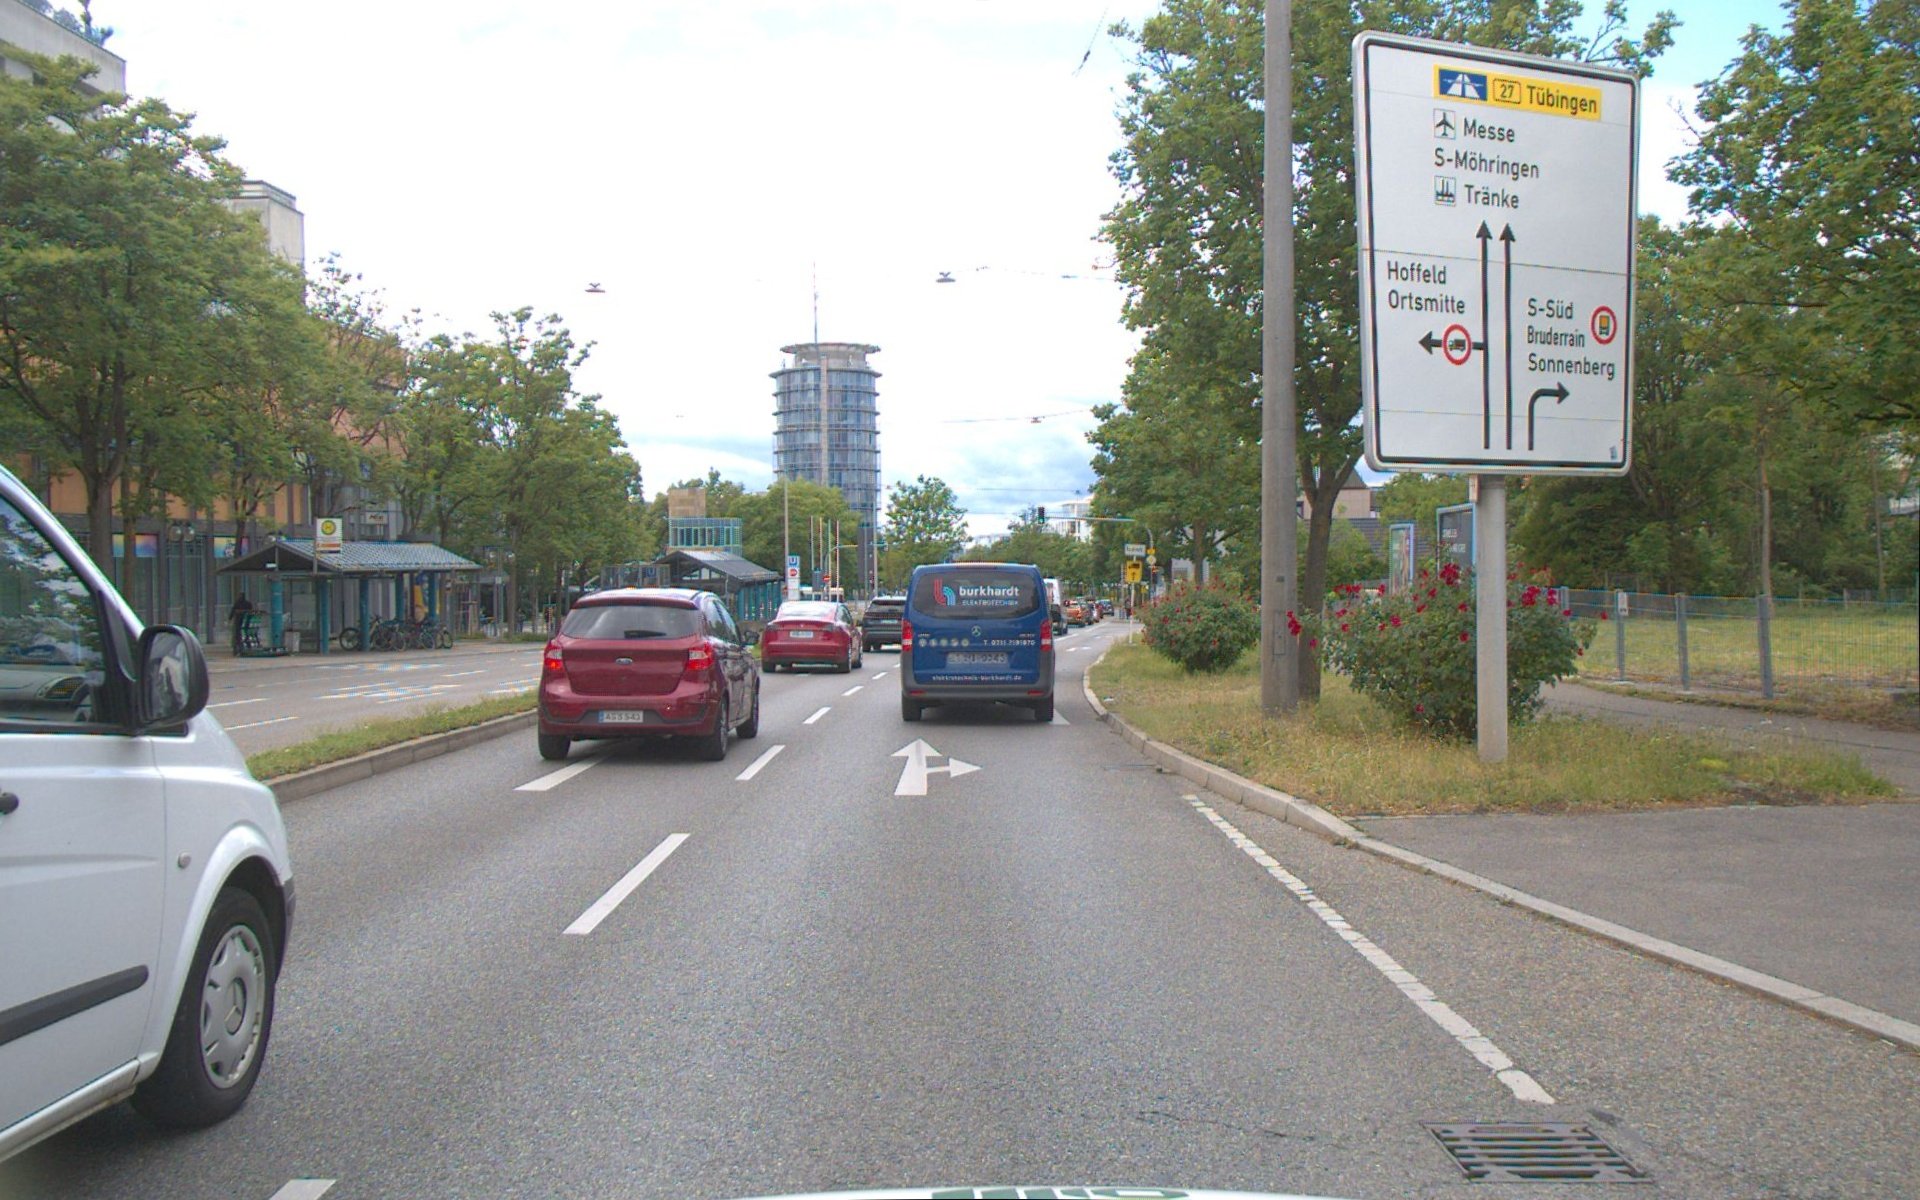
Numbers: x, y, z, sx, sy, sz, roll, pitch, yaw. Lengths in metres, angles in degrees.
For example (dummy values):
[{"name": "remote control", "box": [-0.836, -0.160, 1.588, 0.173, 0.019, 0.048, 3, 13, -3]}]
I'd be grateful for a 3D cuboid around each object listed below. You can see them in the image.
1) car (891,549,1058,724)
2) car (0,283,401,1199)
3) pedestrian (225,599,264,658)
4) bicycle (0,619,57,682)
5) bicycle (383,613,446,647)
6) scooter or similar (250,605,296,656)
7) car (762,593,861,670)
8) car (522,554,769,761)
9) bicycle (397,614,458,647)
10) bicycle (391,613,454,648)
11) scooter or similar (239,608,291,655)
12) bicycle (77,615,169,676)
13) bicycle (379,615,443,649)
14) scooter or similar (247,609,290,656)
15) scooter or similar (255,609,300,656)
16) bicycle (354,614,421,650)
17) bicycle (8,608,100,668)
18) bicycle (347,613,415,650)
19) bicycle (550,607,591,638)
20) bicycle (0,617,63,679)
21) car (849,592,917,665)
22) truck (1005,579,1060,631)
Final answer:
[{"name": "car", "box": [0.191, 0.423, 21.249, 1.908, 2.000, 4.541, 0, 0, 1]}, {"name": "car", "box": [-2.754, 0.385, 2.909, 1.836, 2.048, 5.075, 3, 1, -1]}, {"name": "pedestrian", "box": [-22.204, 0.871, 51.312, 0.717, 1.812, 0.997, -1, 0, 3]}, {"name": "bicycle", "box": [-19.628, 1.038, 34.087, 0.615, 1.275, 1.675, -1, 0, 40]}, {"name": "bicycle", "box": [-19.450, 1.075, 58.962, 2.026, 1.173, 0.710, -1, 0, -9]}, {"name": "scooter or similar", "box": [-19.711, 0.884, 47.465, 1.177, 1.448, 0.259, -1, 0, 0]}, {"name": "car", "box": [-3.070, 0.674, 34.836, 1.831, 1.512, 3.998, -1, -1, -2]}, {"name": "car", "box": [-2.905, 0.495, 16.083, 1.711, 1.754, 3.999, 0, 0, -1]}, {"name": "bicycle", "box": [-19.618, 1.119, 60.995, 2.026, 1.173, 0.710, 0, 0, -9]}, {"name": "bicycle", "box": [-19.452, 1.089, 59.923, 2.026, 1.173, 0.710, 3, -1, -9]}, {"name": "scooter or similar", "box": [-19.564, 0.889, 46.562, 1.294, 1.292, 0.339, 1, 0, 0]}, {"name": "bicycle", "box": [-18.150, 0.971, 35.885, 0.615, 1.275, 1.675, -1, 0, 39]}, {"name": "bicycle", "box": [-19.098, 1.105, 57.567, 2.026, 1.173, 0.710, 1, -1, -9]}, {"name": "scooter or similar", "box": [-19.616, 0.931, 46.922, 1.104, 1.318, 0.268, -1, 0, -1]}, {"name": "scooter or similar", "box": [-19.707, 0.943, 47.764, 1.177, 1.343, 0.259, -1, 0, 0]}, {"name": "bicycle", "box": [-19.565, 1.098, 56.571, 2.026, 1.173, 0.710, 2, -1, -9]}, {"name": "bicycle", "box": [-20.013, 0.834, 36.545, 0.615, 1.275, 1.675, -1, 0, 39]}, {"name": "bicycle", "box": [-19.395, 1.056, 55.427, 2.026, 1.173, 0.710, 2, -1, -9]}, {"name": "bicycle", "box": [-16.604, 0.951, 70.611, 1.030, 1.293, 2.426, 1, 0, 3]}, {"name": "bicycle", "box": [-19.862, 1.007, 35.012, 0.424, 1.275, 1.462, -1, 0, 42]}, {"name": "car", "box": [-2.282, 0.823, 49.969, 1.953, 2.049, 3.999, 1, 1, -1]}, {"name": "truck", "box": [3.302, 0.222, 74.412, 1.951, 2.203, 5.563, 1, 0, 7]}]
